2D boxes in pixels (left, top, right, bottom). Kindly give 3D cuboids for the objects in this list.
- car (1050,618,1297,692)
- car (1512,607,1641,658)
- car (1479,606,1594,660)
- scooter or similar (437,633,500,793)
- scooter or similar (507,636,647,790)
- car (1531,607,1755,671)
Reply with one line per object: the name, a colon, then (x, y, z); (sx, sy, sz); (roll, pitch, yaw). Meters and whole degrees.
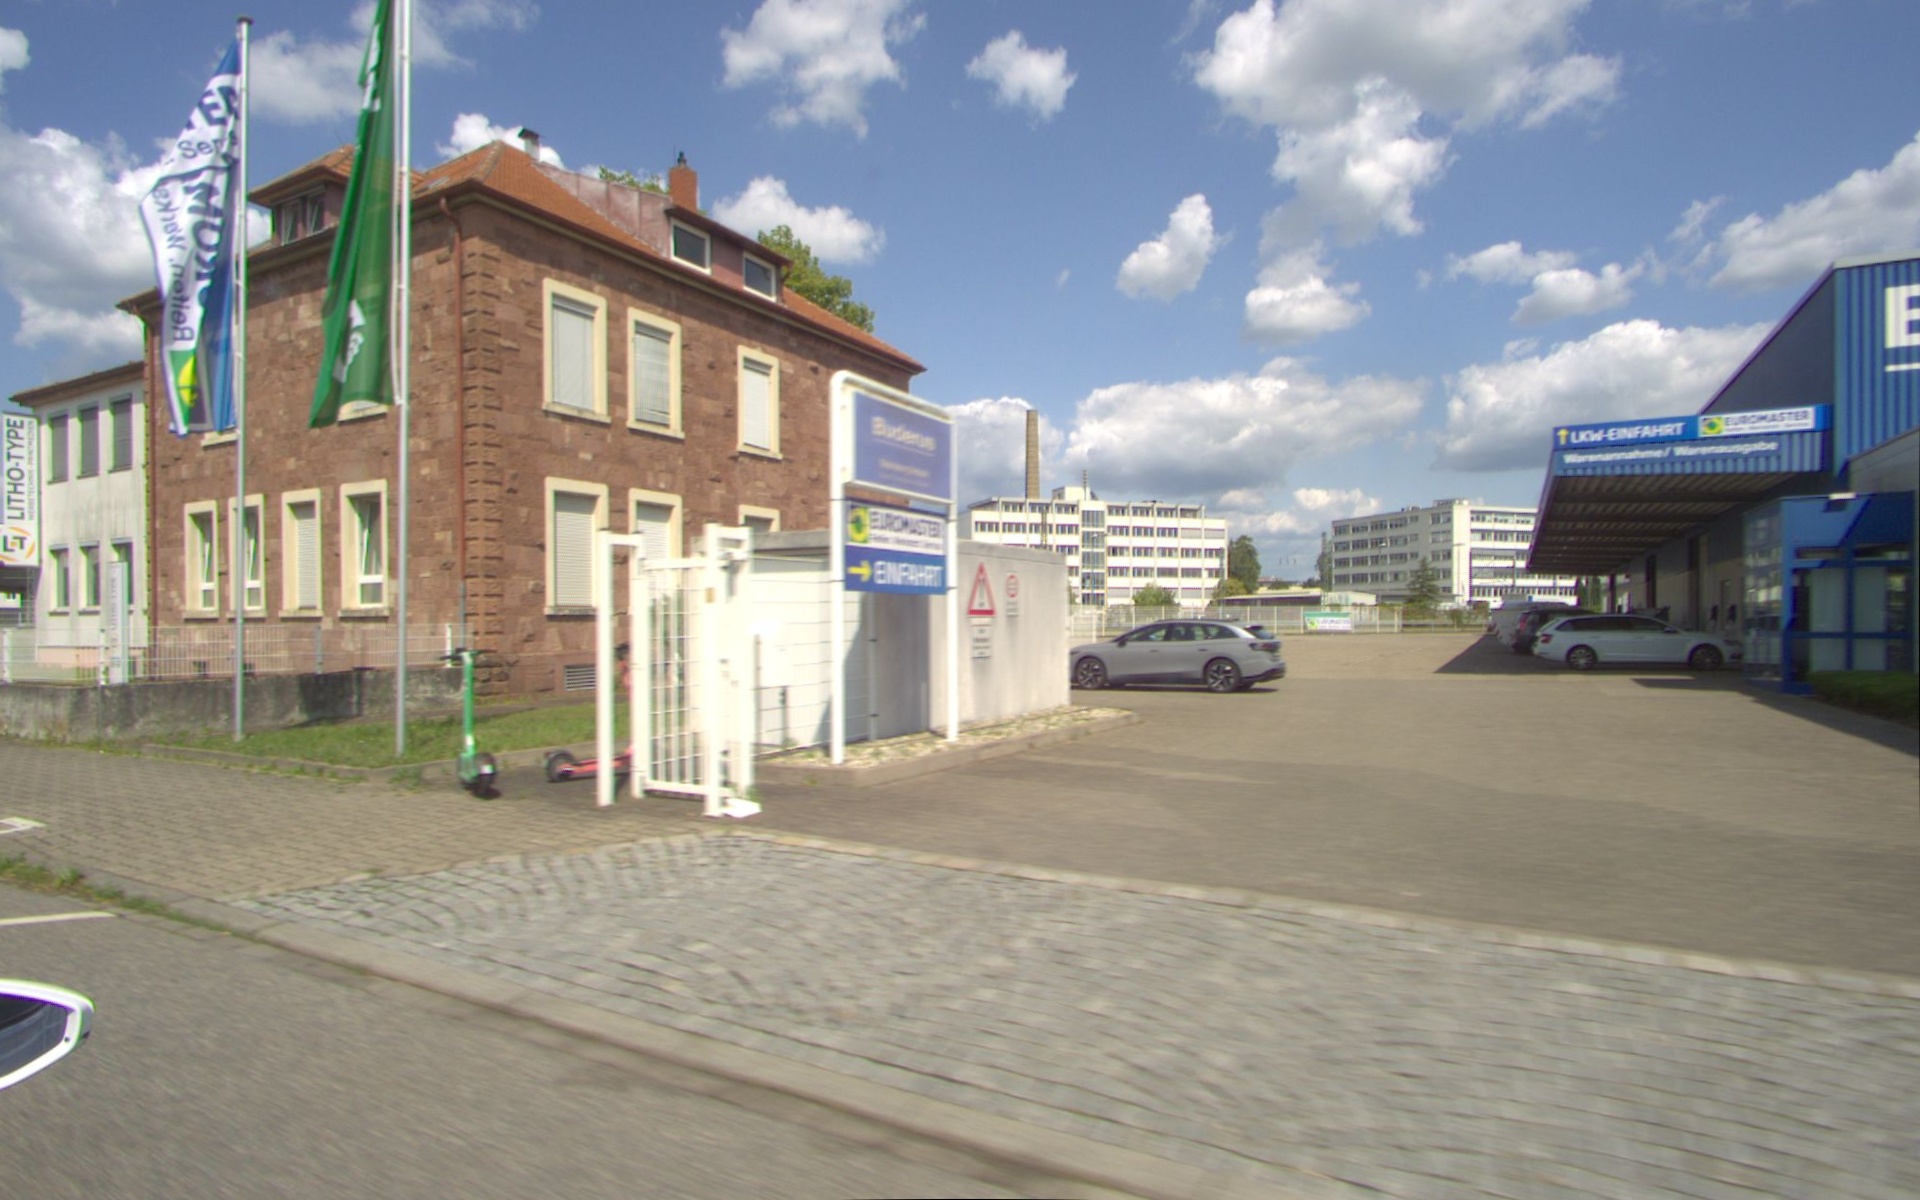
car: (4.689, 1.147, 22.186); (5.018, 1.496, 1.991); (-1, -1, 30)
car: (22.285, 1.161, 36.358); (3.901, 1.765, 1.664); (-1, -1, 31)
car: (22.866, 1.287, 39.815); (3.901, 2.040, 1.664); (-1, -1, 31)
scooter or similar: (-4.202, 0.947, 8.564); (0.360, 1.329, 0.332); (0, 0, 29)
scooter or similar: (-3.366, 0.963, 8.853); (1.138, 1.262, 0.256); (-1, 0, -43)
car: (17.755, 1.034, 26.336); (4.718, 1.566, 1.663); (-2, -1, 31)
